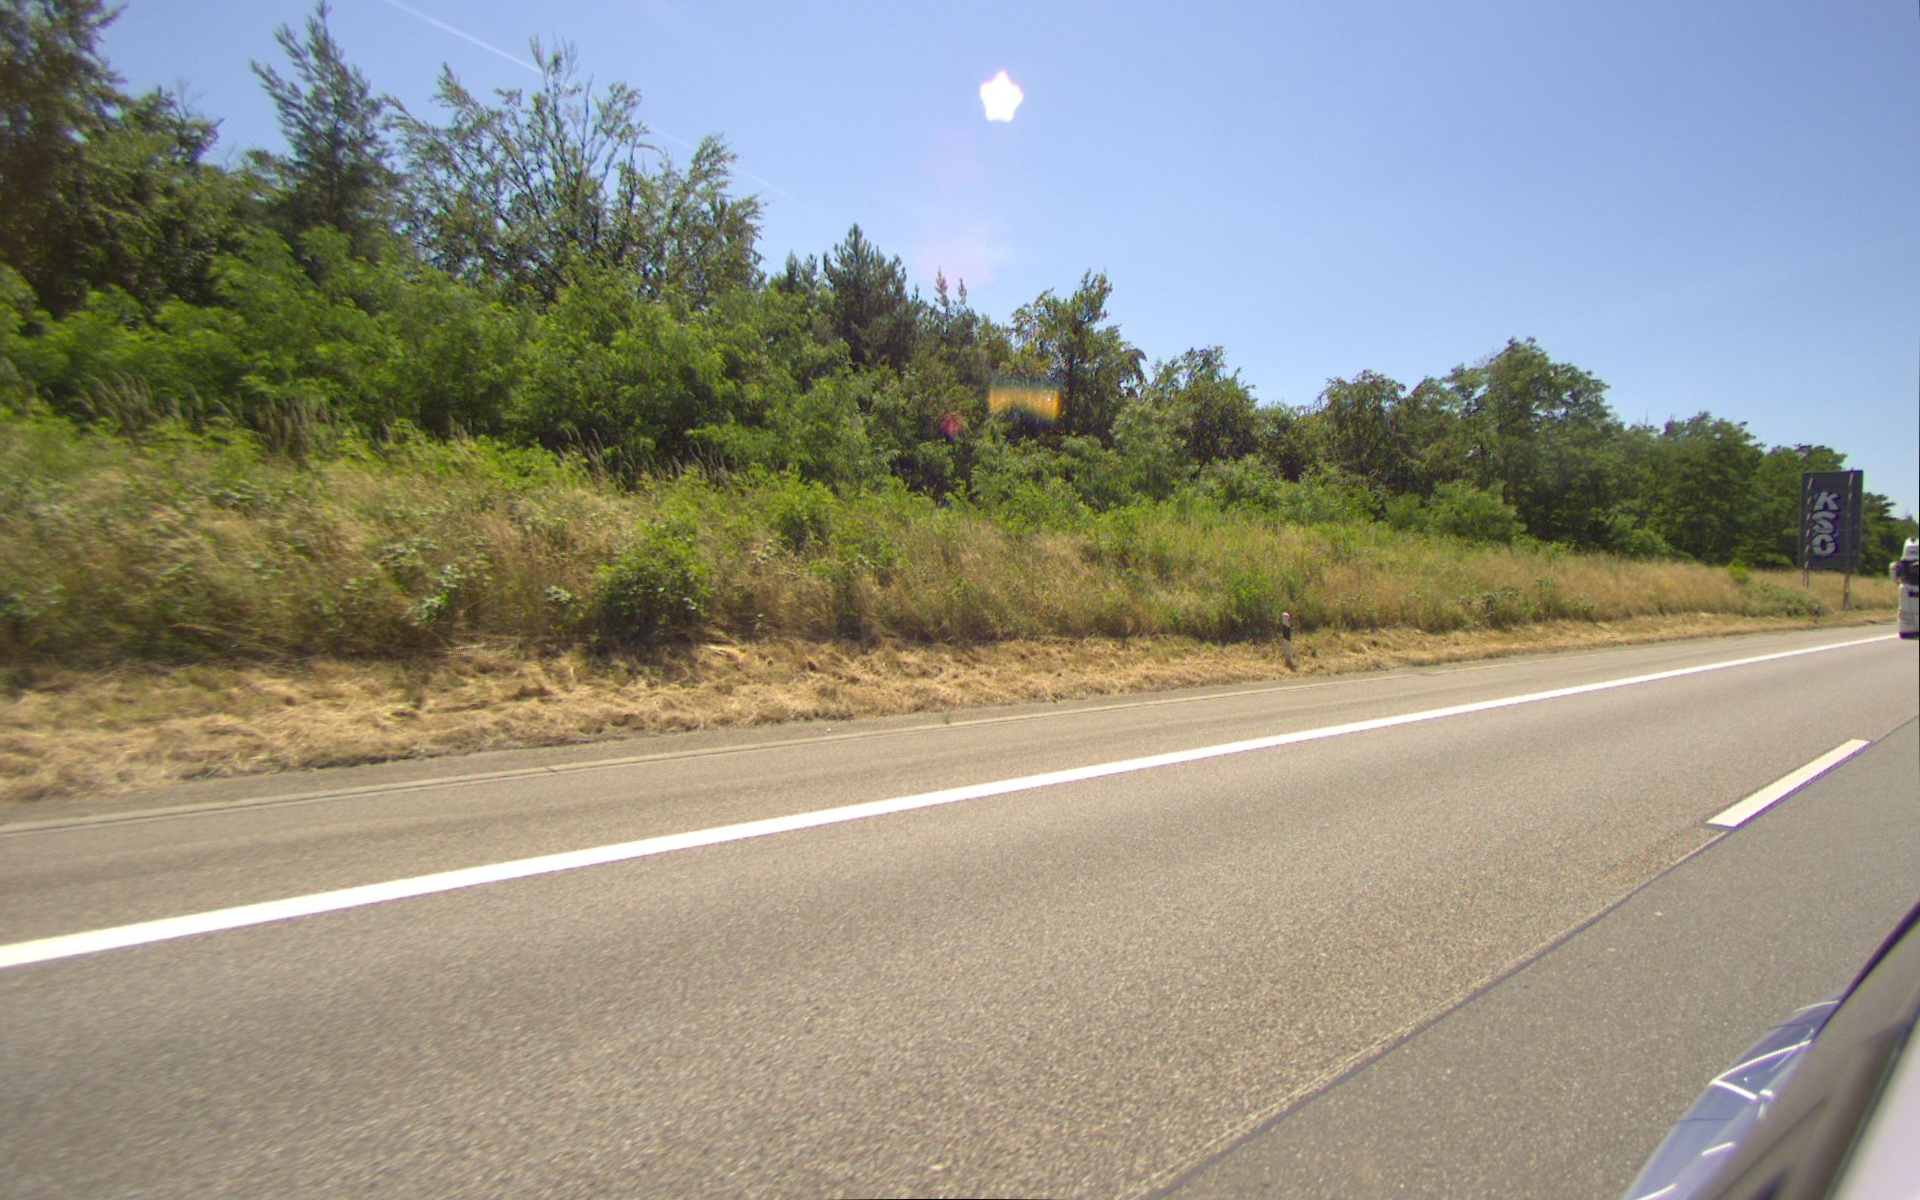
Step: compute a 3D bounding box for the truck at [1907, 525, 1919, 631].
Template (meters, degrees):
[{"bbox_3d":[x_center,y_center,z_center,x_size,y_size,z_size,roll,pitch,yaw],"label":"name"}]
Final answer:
[{"bbox_3d":[37.940,-0.800,38.192,5.864,3.882,2.603,0,0,-41],"label":"truck"}]
